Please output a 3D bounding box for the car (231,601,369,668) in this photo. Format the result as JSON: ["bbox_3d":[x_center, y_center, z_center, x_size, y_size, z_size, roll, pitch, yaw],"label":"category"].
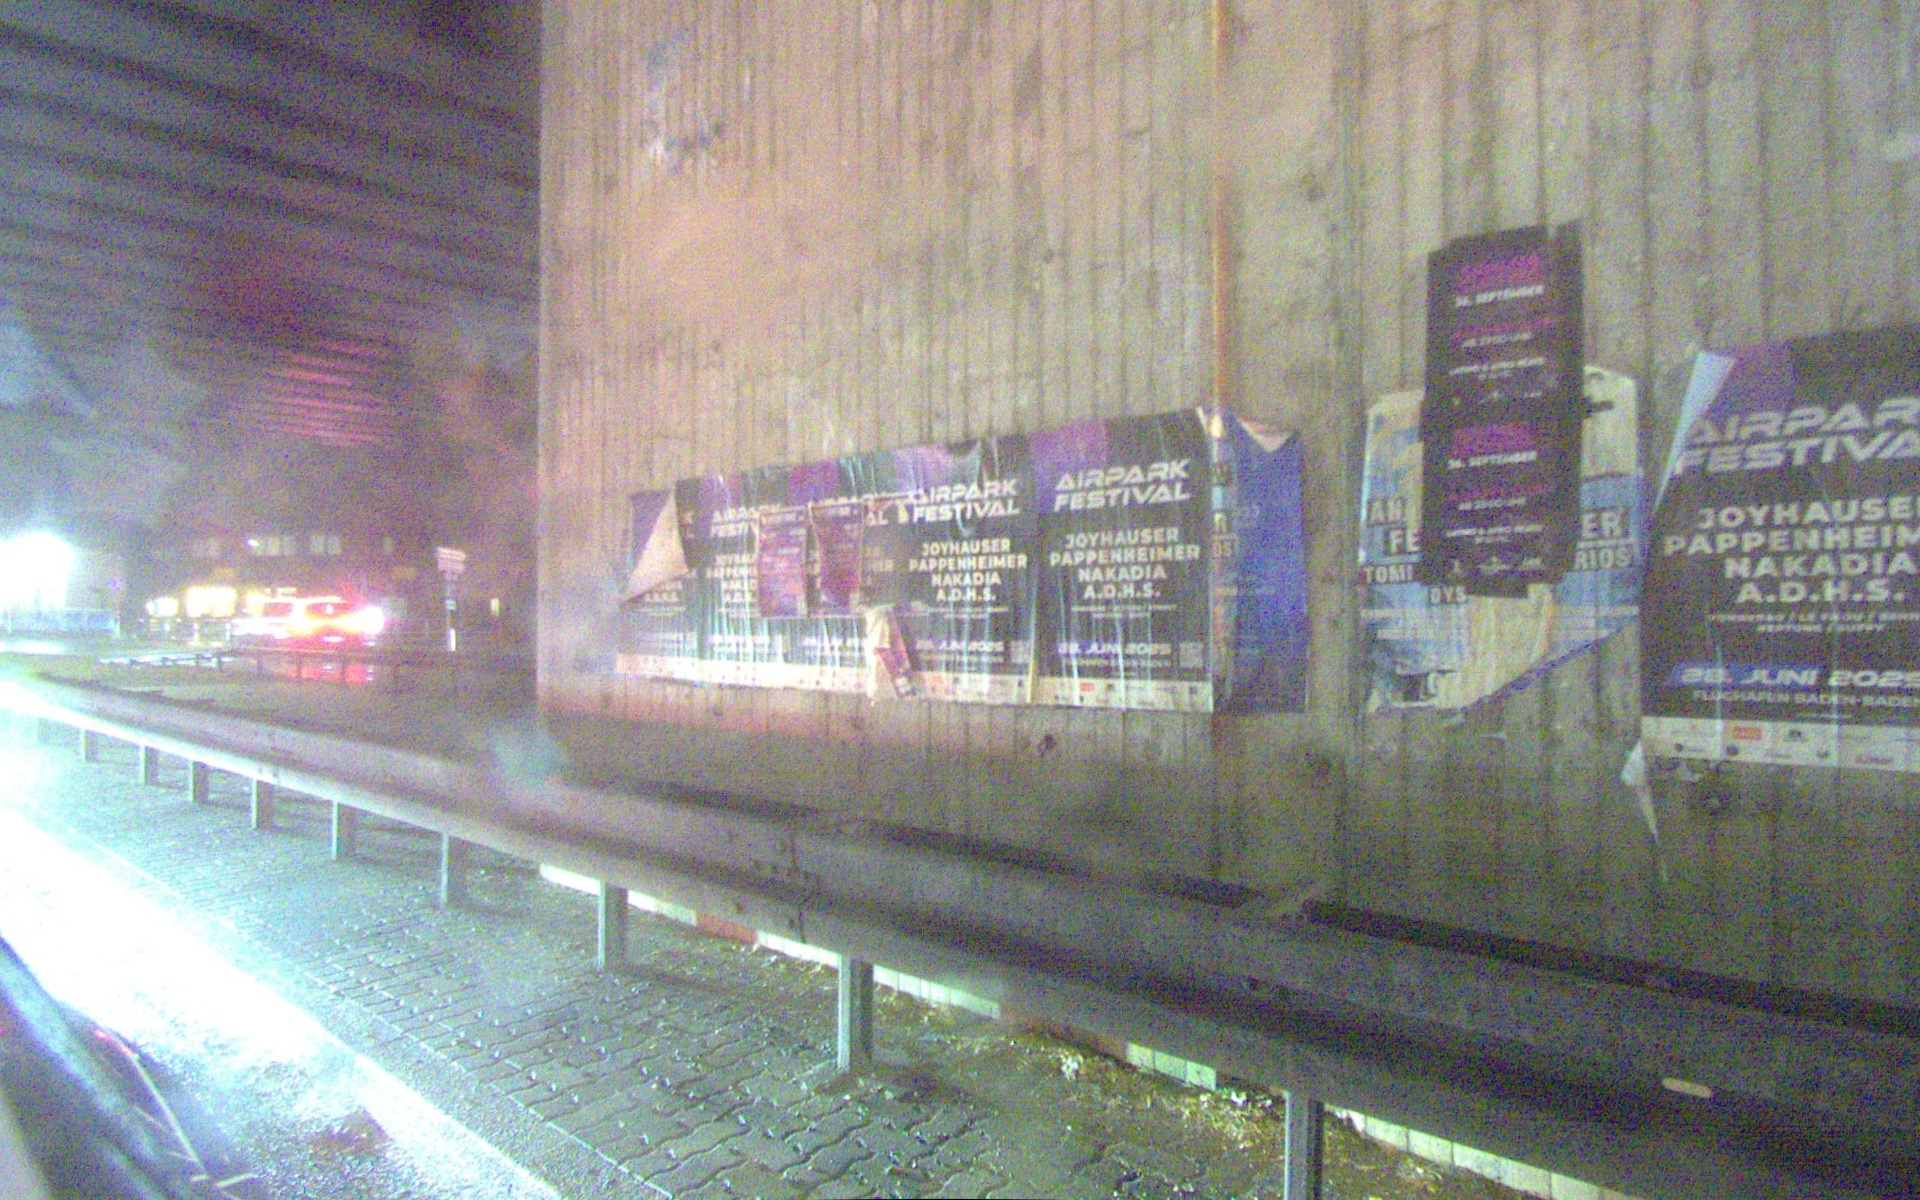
[{"bbox_3d":[-20.618,1.042,31.565,4.343,1.937,1.978,-1,0,32],"label":"car"}]
